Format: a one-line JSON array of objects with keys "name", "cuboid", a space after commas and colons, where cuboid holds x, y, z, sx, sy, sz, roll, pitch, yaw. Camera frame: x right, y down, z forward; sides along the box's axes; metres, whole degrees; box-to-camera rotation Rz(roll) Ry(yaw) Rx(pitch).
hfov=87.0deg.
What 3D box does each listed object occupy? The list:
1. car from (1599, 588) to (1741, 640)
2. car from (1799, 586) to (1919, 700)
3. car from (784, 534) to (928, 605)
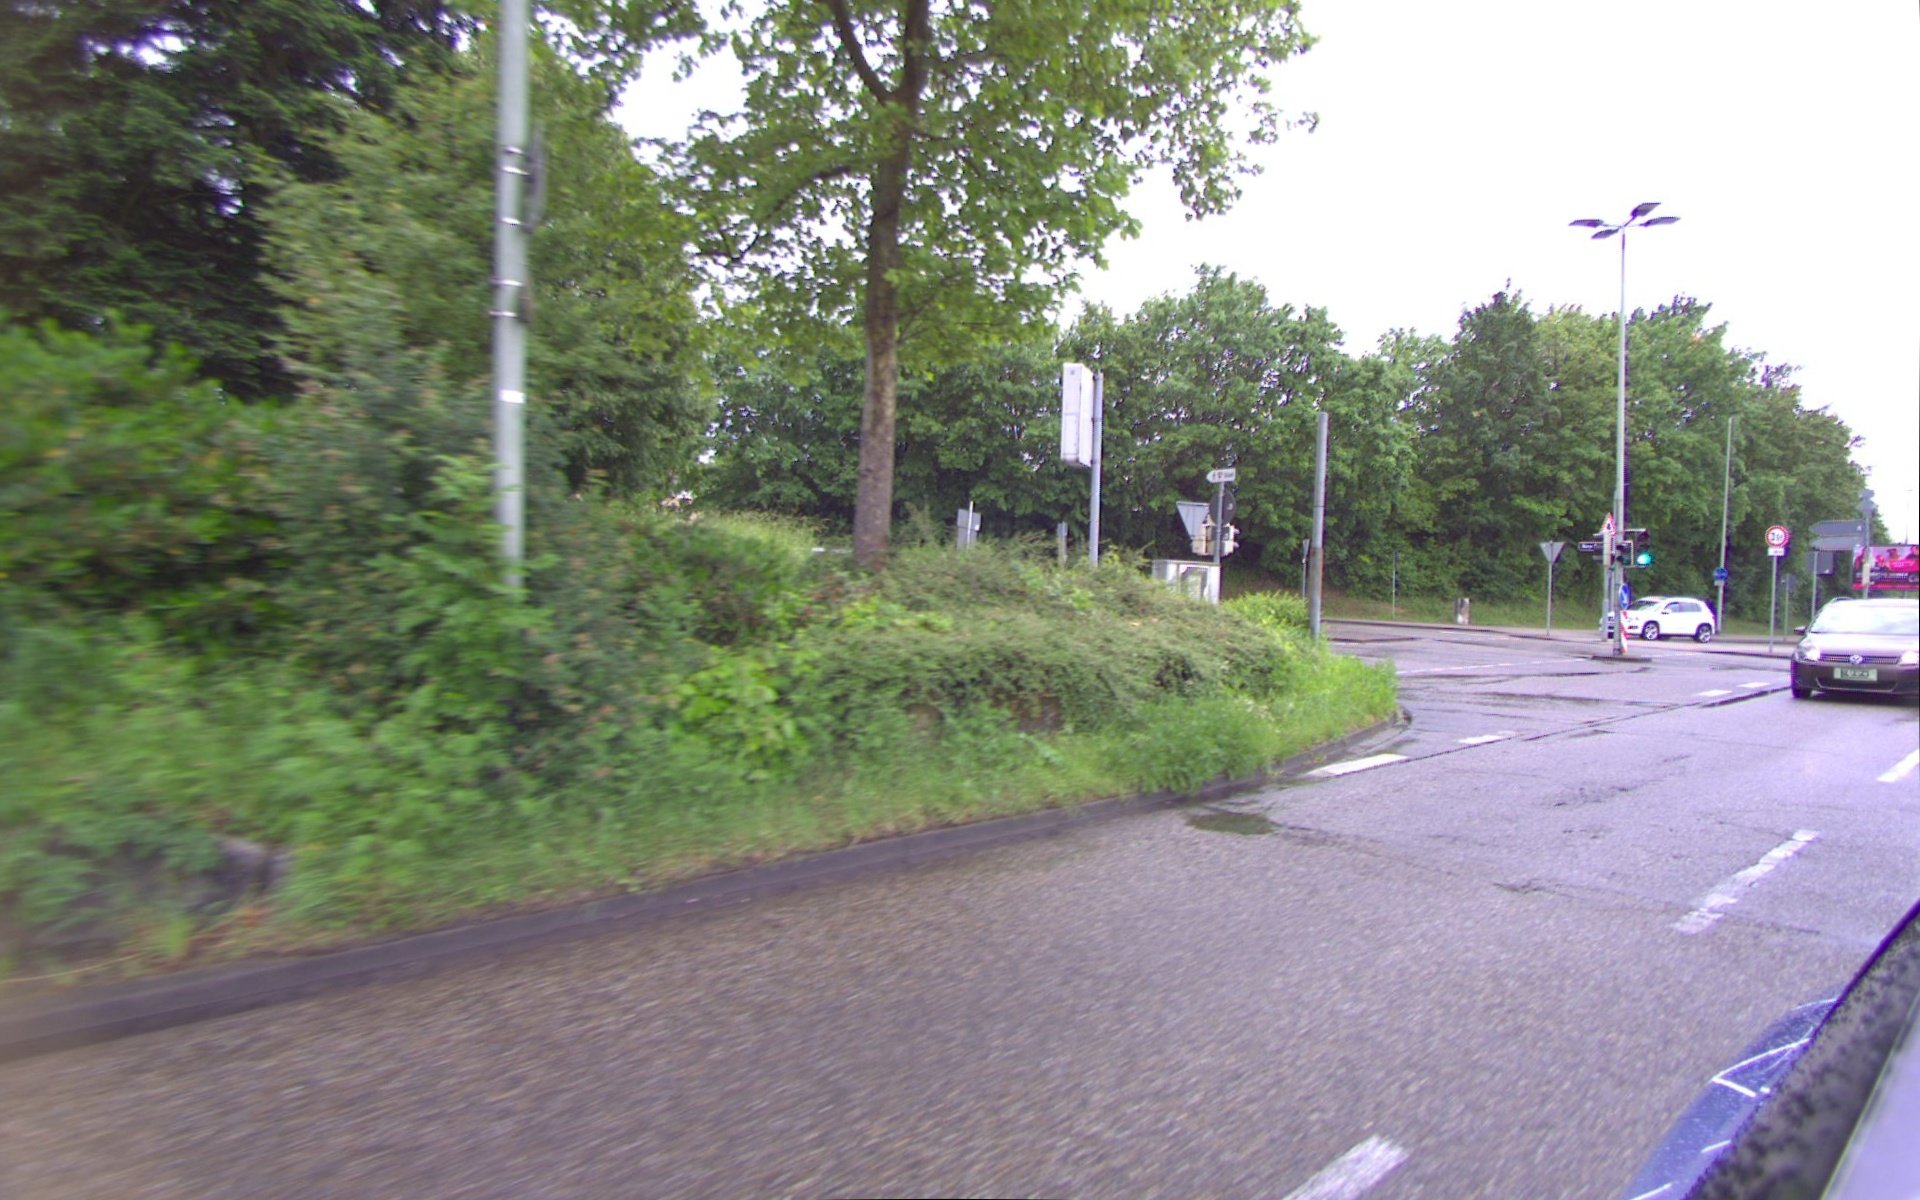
[{"name": "car", "cuboid": [26.901, 0.512, 38.377, 4.226, 1.749, 2.004, 3, 0, -12]}, {"name": "car", "cuboid": [15.034, 0.655, 16.227, 3.909, 1.629, 1.750, 1, 0, -40]}, {"name": "car", "cuboid": [-3.130, -0.951, 30.381, 3.970, 1.881, 1.832, 4, 3, 31]}]
